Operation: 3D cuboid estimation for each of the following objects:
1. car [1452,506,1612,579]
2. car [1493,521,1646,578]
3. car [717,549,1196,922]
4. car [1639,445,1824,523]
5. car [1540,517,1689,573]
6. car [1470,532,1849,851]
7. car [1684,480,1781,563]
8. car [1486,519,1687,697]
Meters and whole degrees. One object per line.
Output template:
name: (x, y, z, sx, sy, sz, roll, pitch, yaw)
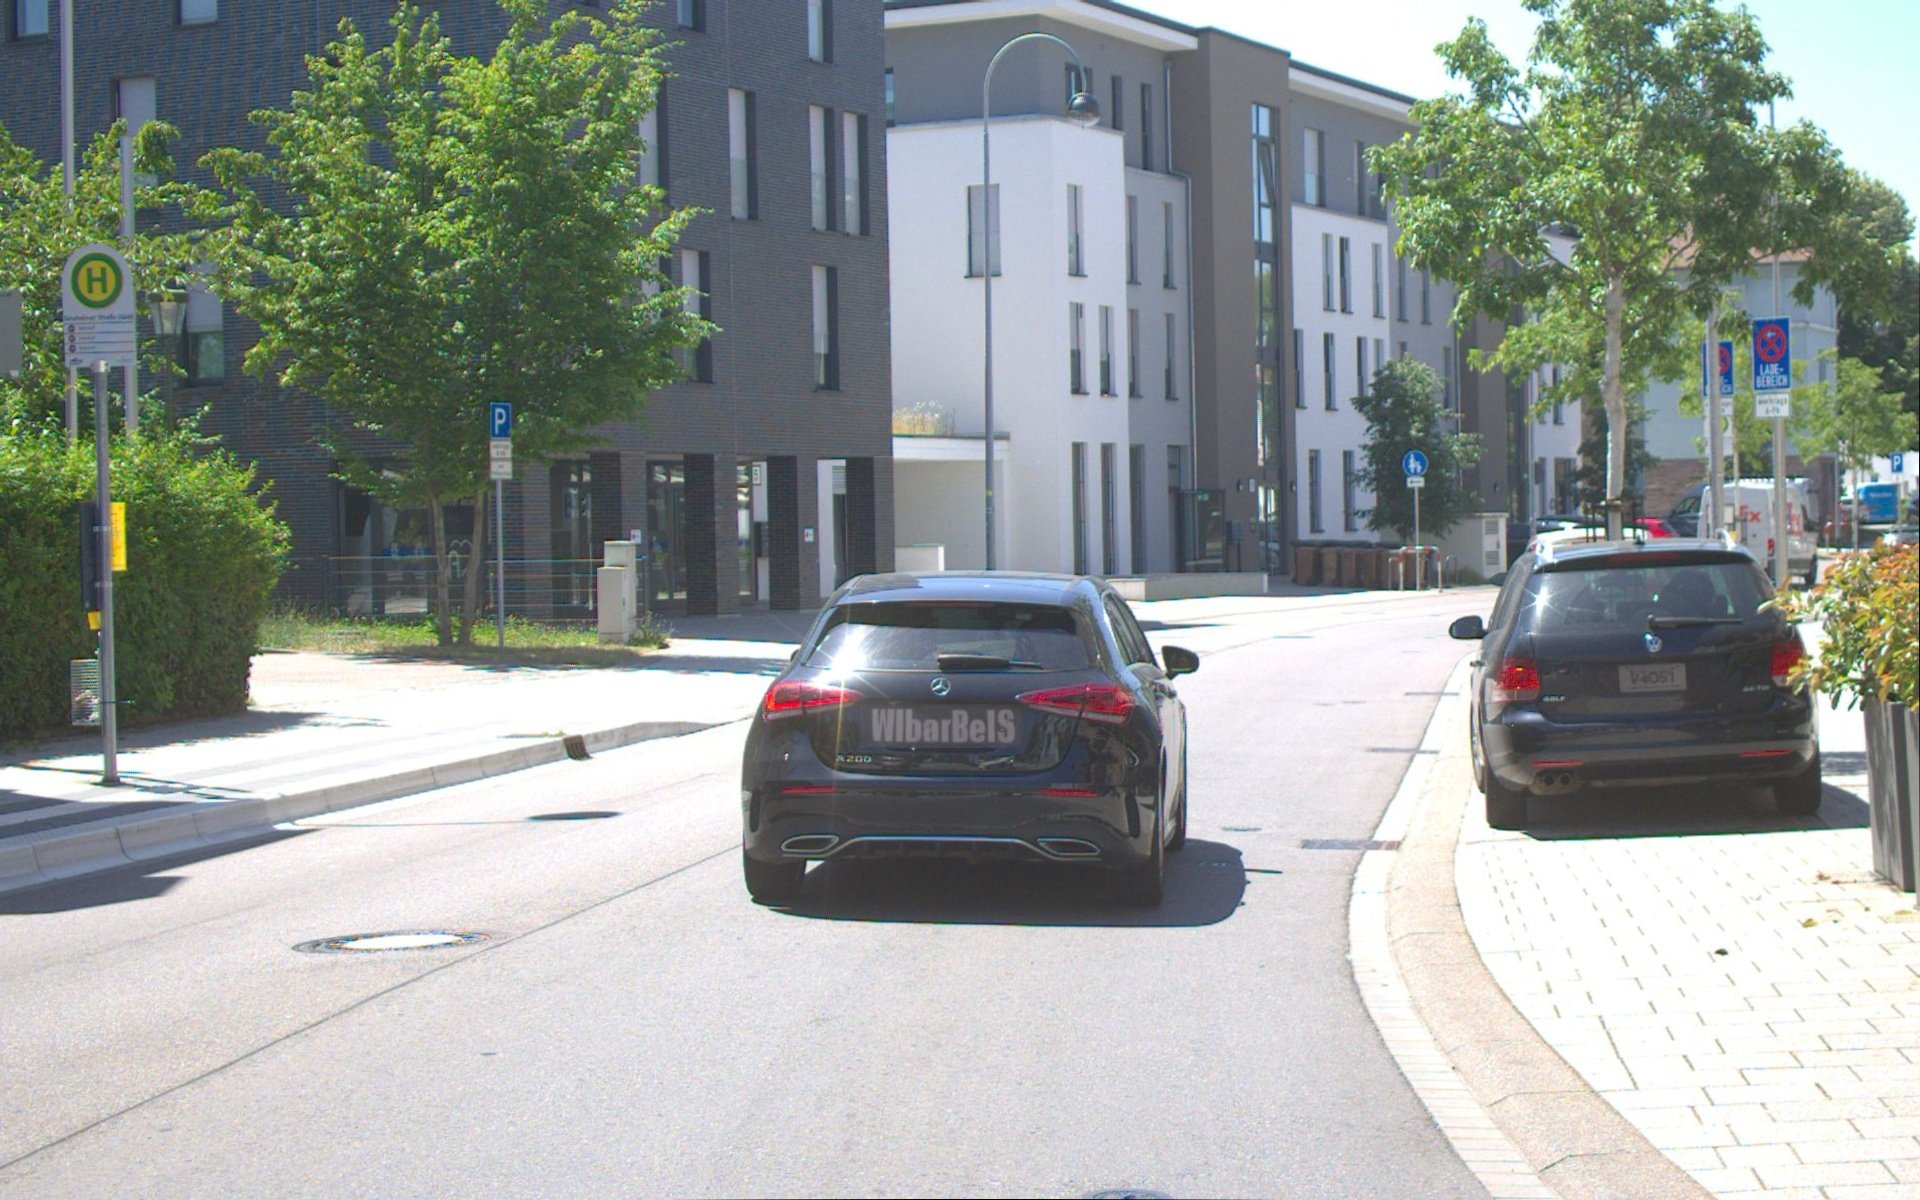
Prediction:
car: (16.029, -1.618, 96.371, 3.993, 2.007, 1.997, 1, 1, 29)
car: (17.904, -1.489, 100.964, 3.993, 1.656, 1.997, 1, 1, 28)
car: (0.130, 0.512, 16.121, 1.763, 1.452, 4.437, 1, 1, 6)
car: (26.135, -3.893, 116.515, 5.651, 2.570, 2.511, 1, 1, 30)
car: (19.670, -1.648, 103.266, 3.993, 1.656, 1.997, 1, 1, 28)
car: (3.716, 0.417, 18.824, 1.750, 1.481, 3.999, -3, 1, 9)
car: (19.253, -1.946, 85.535, 1.995, 2.007, 3.997, 0, 1, 18)
car: (5.818, 0.037, 32.218, 1.606, 1.525, 3.491, -2, 1, 7)
